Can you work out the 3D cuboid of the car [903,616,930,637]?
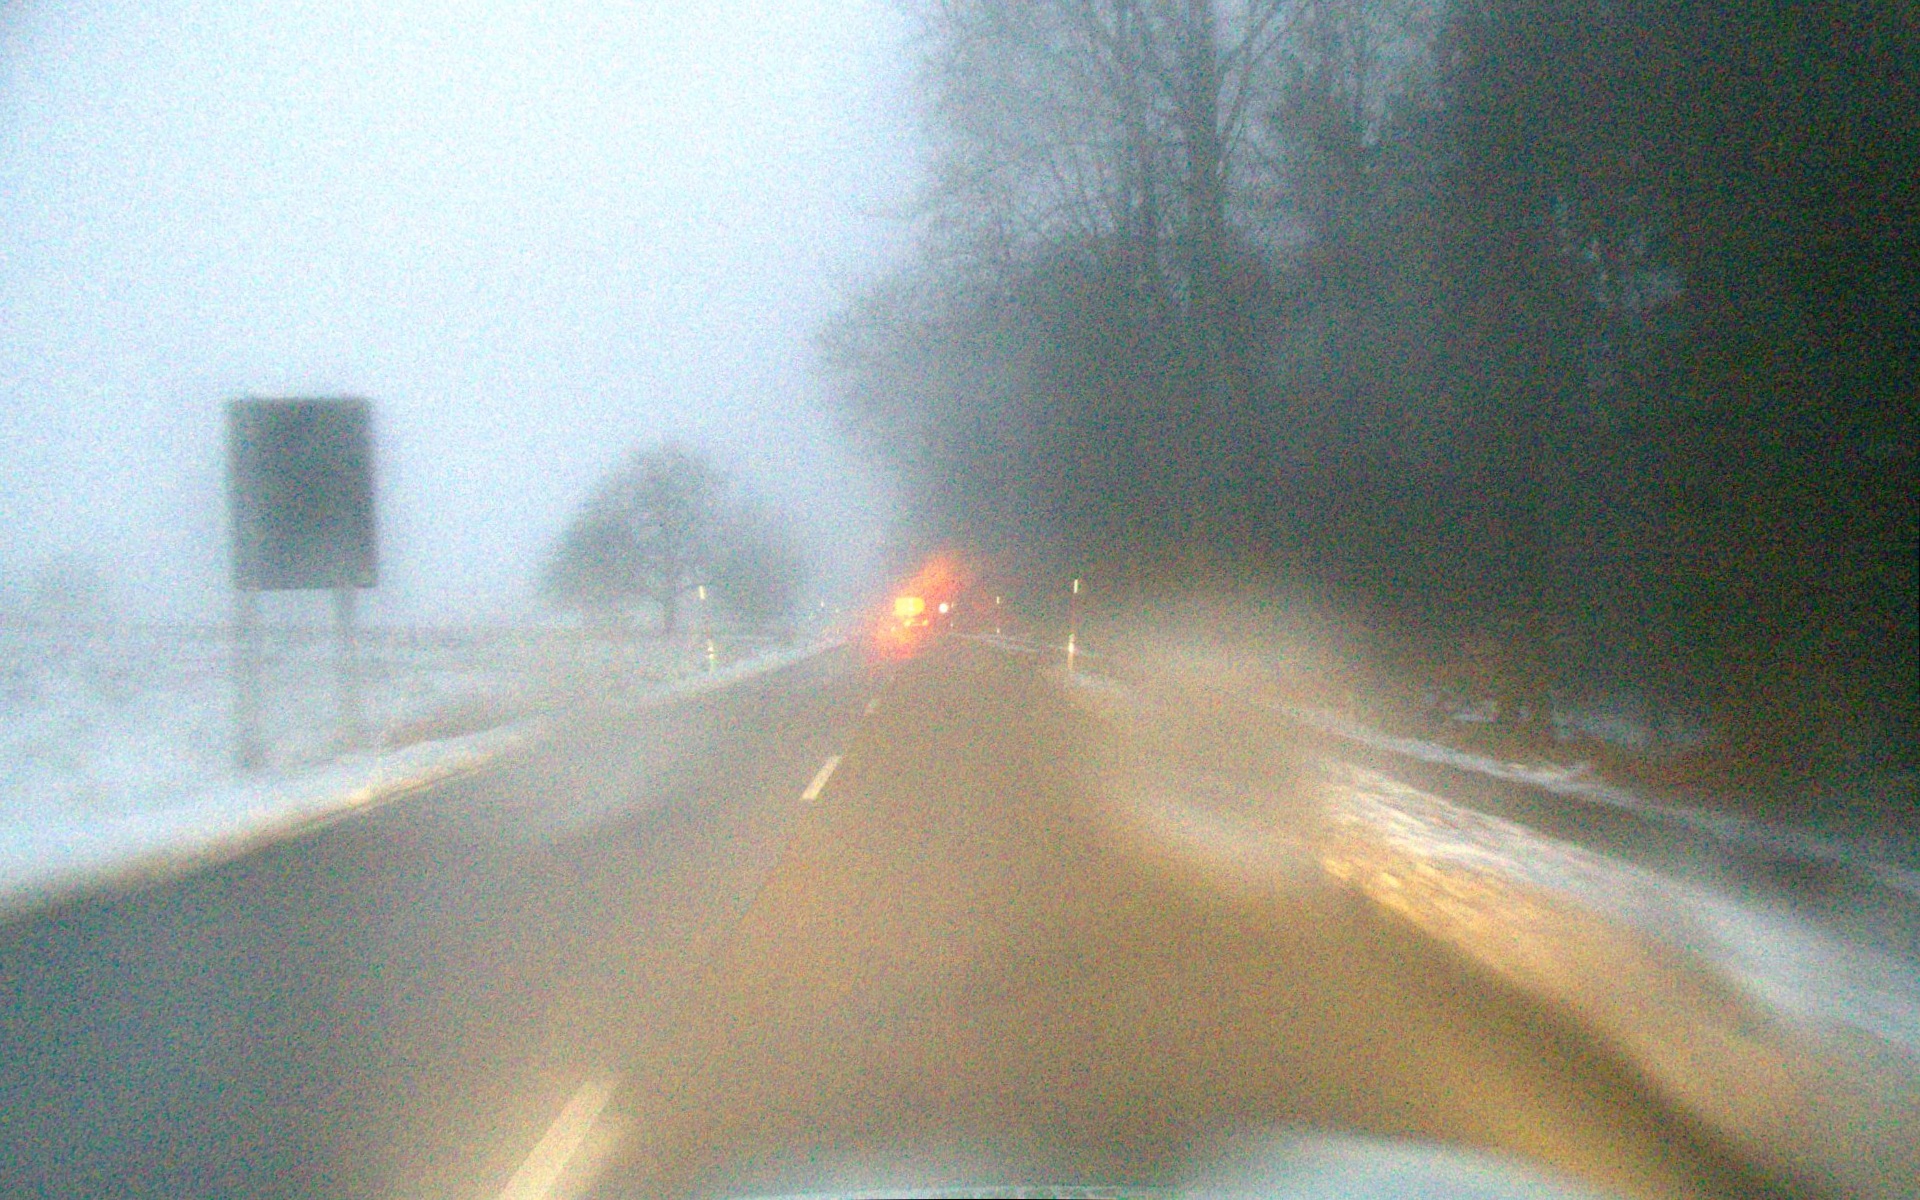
[{"bbox_3d":[-3.253,2.008,122.719,1.953,1.445,3.998,-2,-2,-2],"label":"car"}]
